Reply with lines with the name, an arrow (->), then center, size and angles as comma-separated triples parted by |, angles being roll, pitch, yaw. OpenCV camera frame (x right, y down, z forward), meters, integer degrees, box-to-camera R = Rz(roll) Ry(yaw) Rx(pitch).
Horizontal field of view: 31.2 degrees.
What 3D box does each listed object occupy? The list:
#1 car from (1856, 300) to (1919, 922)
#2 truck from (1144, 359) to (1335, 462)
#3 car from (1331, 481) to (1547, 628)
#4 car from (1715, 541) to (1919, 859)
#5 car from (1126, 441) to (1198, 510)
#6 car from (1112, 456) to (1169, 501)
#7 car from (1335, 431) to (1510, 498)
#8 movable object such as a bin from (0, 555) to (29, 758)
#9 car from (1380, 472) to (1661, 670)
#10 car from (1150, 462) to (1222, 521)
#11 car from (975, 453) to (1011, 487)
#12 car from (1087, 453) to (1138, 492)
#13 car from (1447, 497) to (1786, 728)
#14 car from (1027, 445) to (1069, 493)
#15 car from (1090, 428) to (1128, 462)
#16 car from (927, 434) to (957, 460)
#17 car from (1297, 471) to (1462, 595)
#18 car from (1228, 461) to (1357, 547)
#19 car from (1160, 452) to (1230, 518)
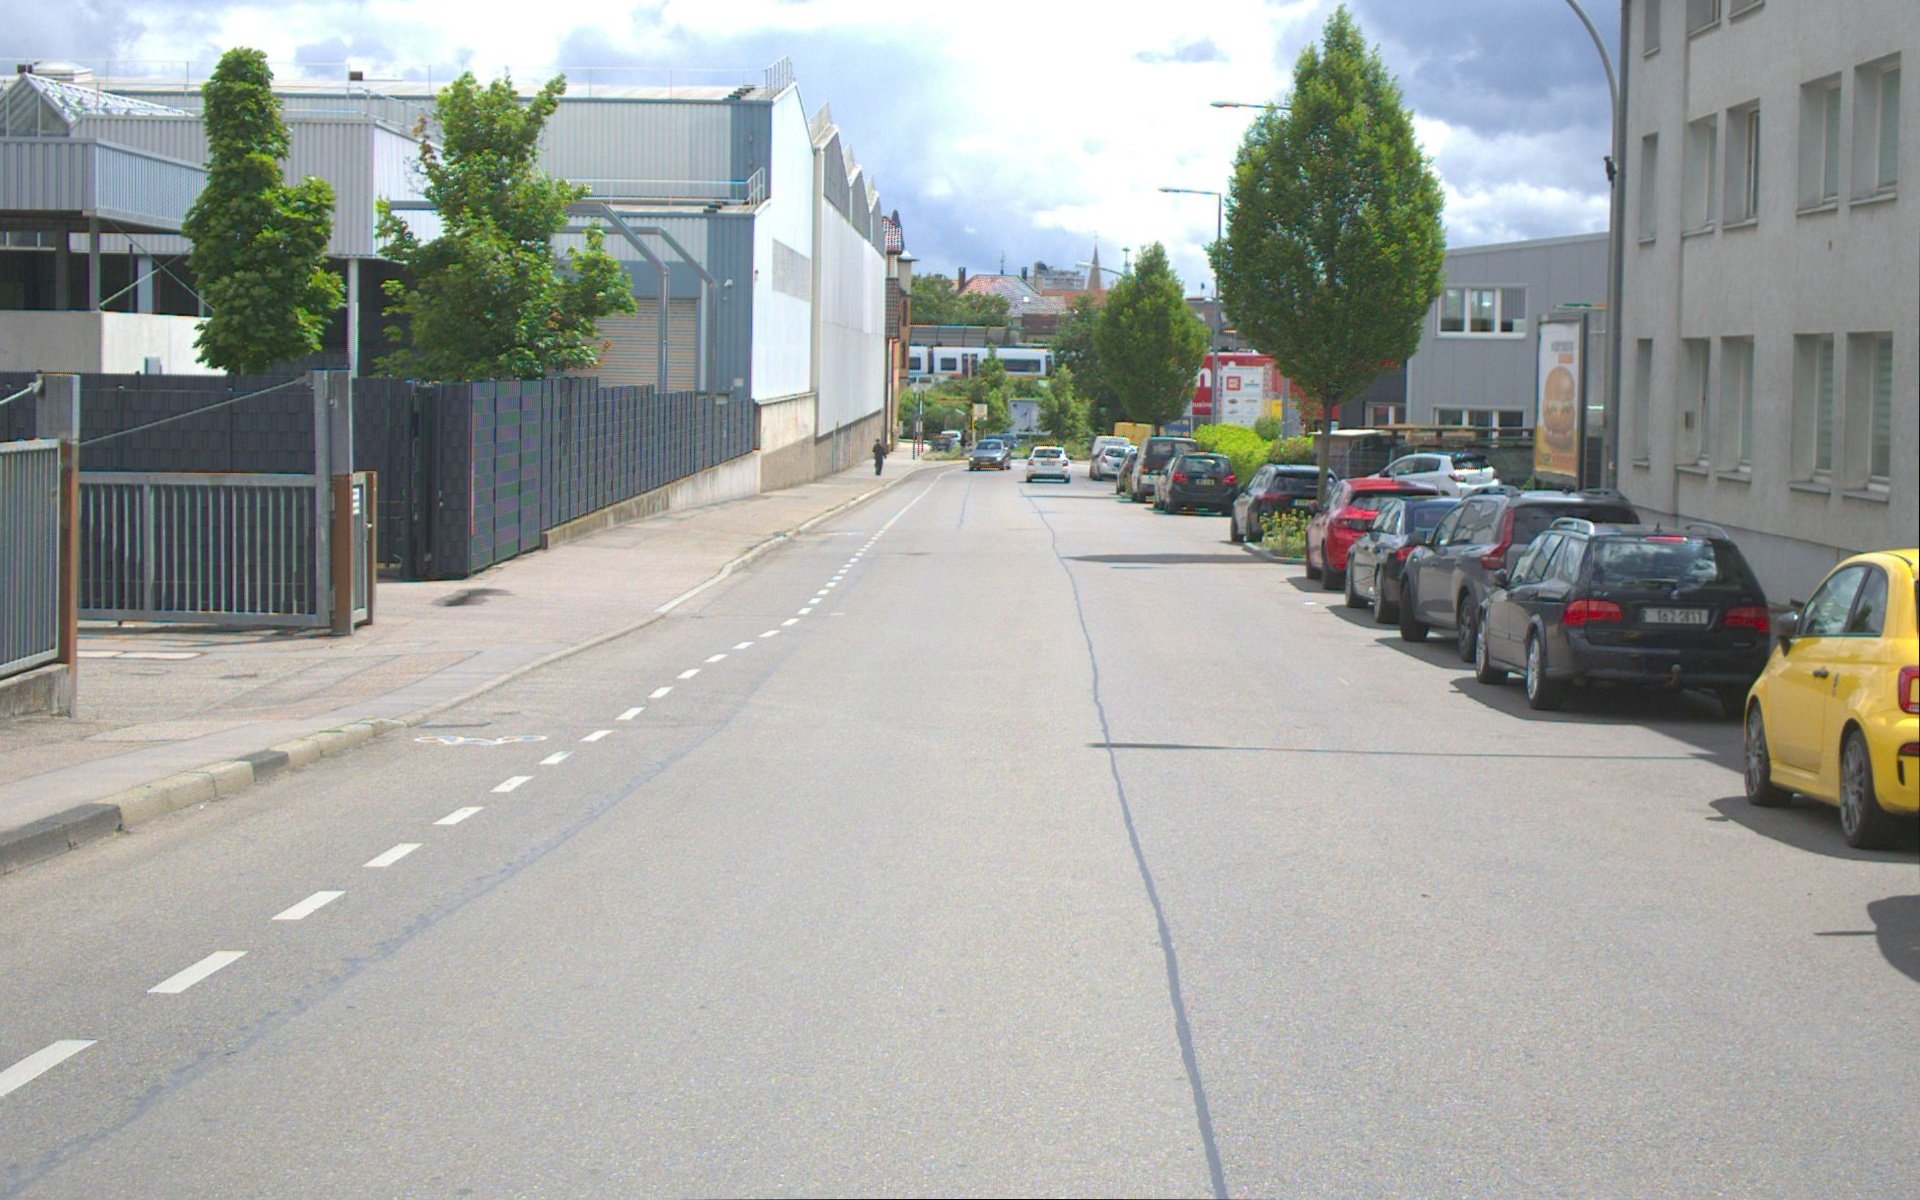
car -> 5.113, 0.094, 11.825 | 2.033, 2.632, 7.283 | 1, 1, -1
truck -> 13.095, -8.893, 161.348 | 8.459, 4.654, 2.579 | 1, 1, 22
car -> 5.423, -0.573, 39.454 | 1.735, 1.418, 4.861 | 2, 3, 0
car -> 5.181, 0.457, 18.189 | 1.593, 1.442, 3.790 | 1, 2, 1
car -> 6.059, -3.765, 103.699 | 1.869, 1.983, 5.144 | 1, 2, 0
car -> 6.134, -4.139, 117.160 | 1.714, 1.468, 4.512 | 1, 2, 0
car -> 11.024, -3.230, 82.199 | 1.720, 1.457, 4.074 | -4, 3, -38
movable object such as a bin -> -7.185, 0.416, 23.930 | 0.991, 1.388, 1.215 | -1, 3, 3
car -> 5.425, -0.348, 33.873 | 1.676, 1.632, 4.798 | 3, 3, -3
car -> 6.133, -2.969, 93.794 | 1.655, 1.534, 4.735 | 1, 2, 0
car -> 1.664, -6.559, 173.596 | 1.719, 1.550, 4.288 | -2, 1, 0
car -> 6.541, -5.487, 147.732 | 1.701, 1.522, 3.739 | 4, 3, -3
car -> 5.261, 0.021, 28.212 | 1.704, 1.504, 5.088 | 3, 3, 0
car -> 3.490, -5.201, 137.067 | 1.567, 1.780, 3.606 | 1, 1, 0
car -> 6.837, -7.128, 158.344 | 1.701, 1.522, 3.738 | 1, 2, 2
car -> -1.100, -9.563, 214.792 | 1.853, 1.481, 4.000 | 1, 1, 0
car -> 5.576, -0.934, 46.157 | 1.735, 1.467, 4.262 | 1, 3, 1
car -> 5.947, -1.749, 62.017 | 1.791, 1.460, 4.709 | 1, 2, -1
car -> 6.037, -2.973, 88.642 | 1.679, 1.632, 4.123 | 1, 2, 2
